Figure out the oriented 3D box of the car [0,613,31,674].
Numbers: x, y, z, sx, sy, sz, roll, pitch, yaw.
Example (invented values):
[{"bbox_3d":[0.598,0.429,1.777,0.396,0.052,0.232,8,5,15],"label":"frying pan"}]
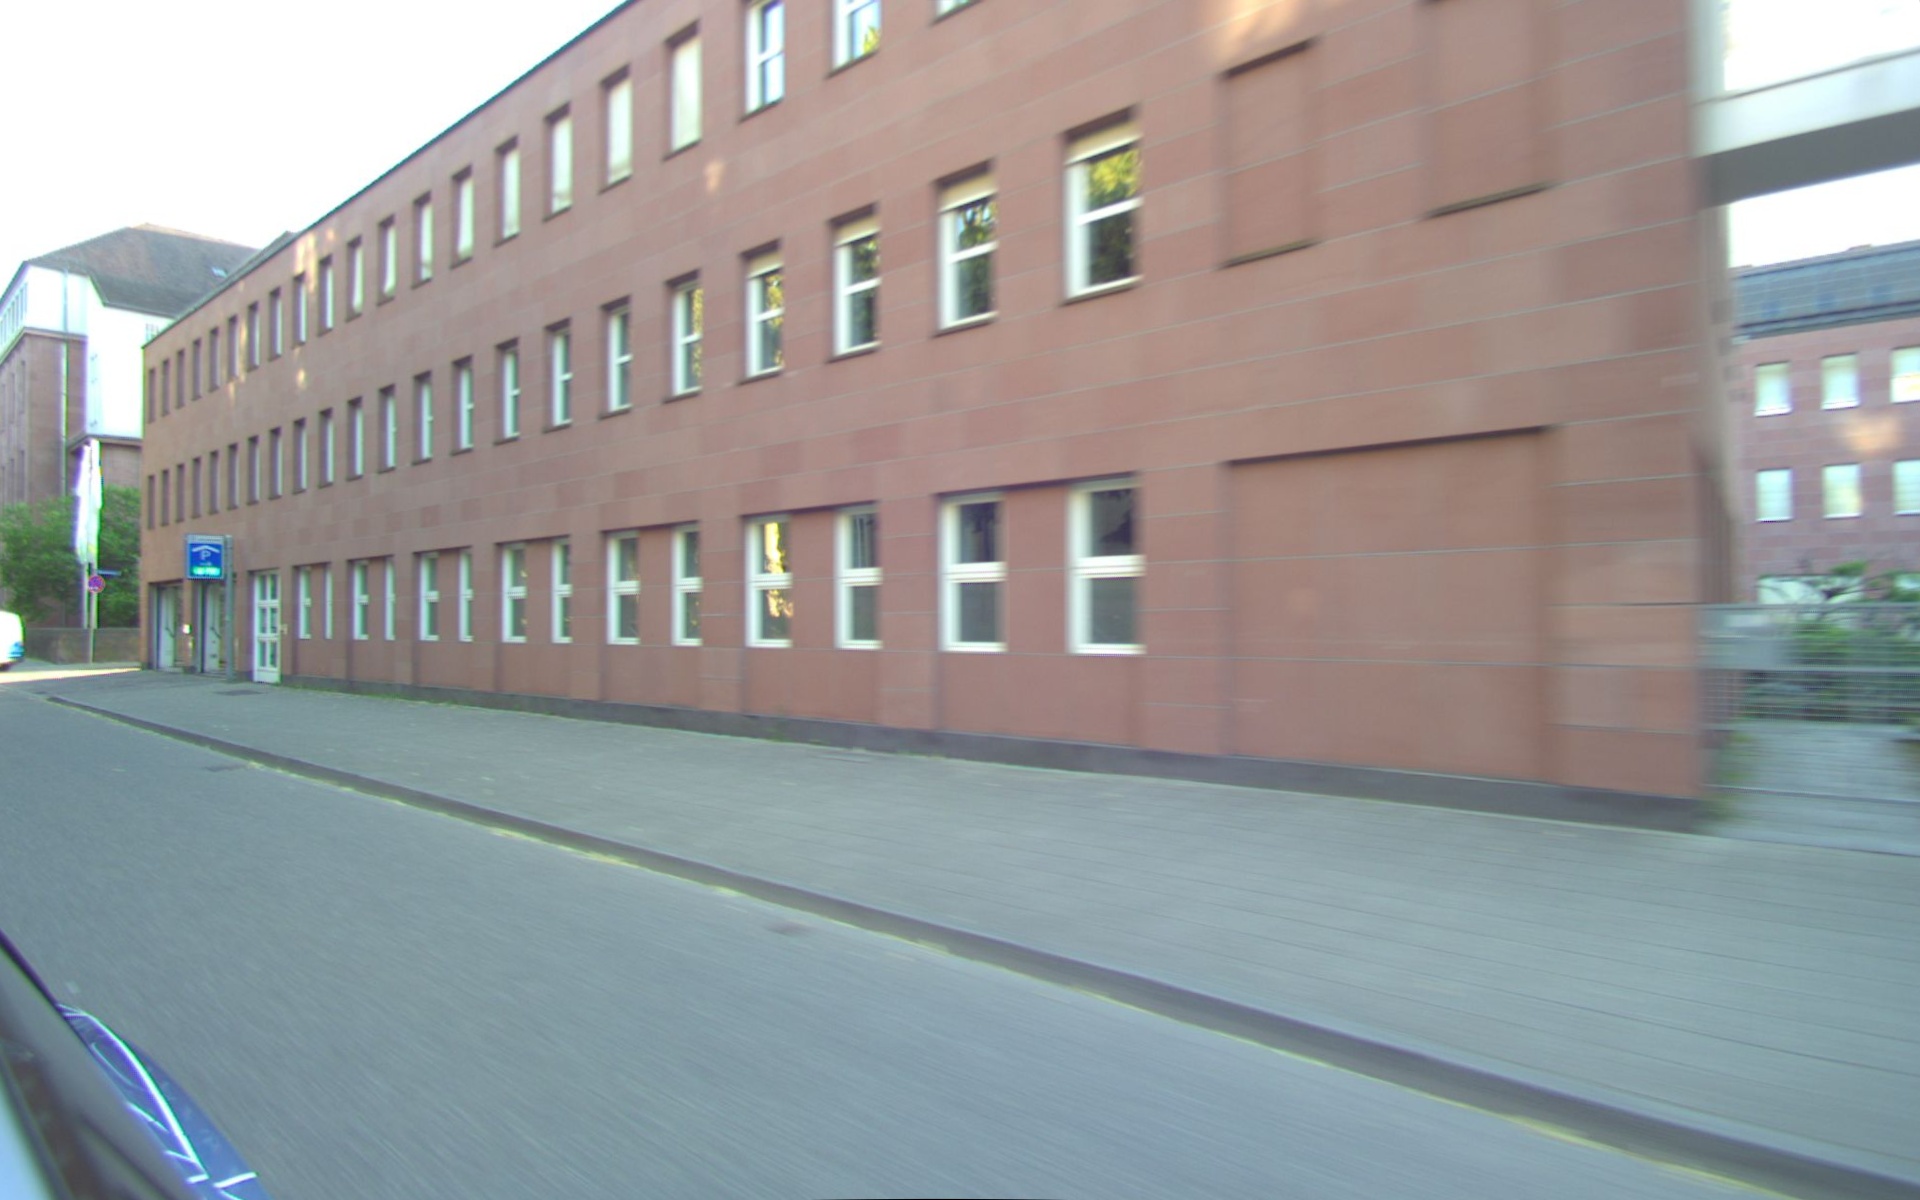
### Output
[{"bbox_3d":[-32.193,1.422,31.084,5.021,1.889,2.006,-1,-2,-17],"label":"car"}]
